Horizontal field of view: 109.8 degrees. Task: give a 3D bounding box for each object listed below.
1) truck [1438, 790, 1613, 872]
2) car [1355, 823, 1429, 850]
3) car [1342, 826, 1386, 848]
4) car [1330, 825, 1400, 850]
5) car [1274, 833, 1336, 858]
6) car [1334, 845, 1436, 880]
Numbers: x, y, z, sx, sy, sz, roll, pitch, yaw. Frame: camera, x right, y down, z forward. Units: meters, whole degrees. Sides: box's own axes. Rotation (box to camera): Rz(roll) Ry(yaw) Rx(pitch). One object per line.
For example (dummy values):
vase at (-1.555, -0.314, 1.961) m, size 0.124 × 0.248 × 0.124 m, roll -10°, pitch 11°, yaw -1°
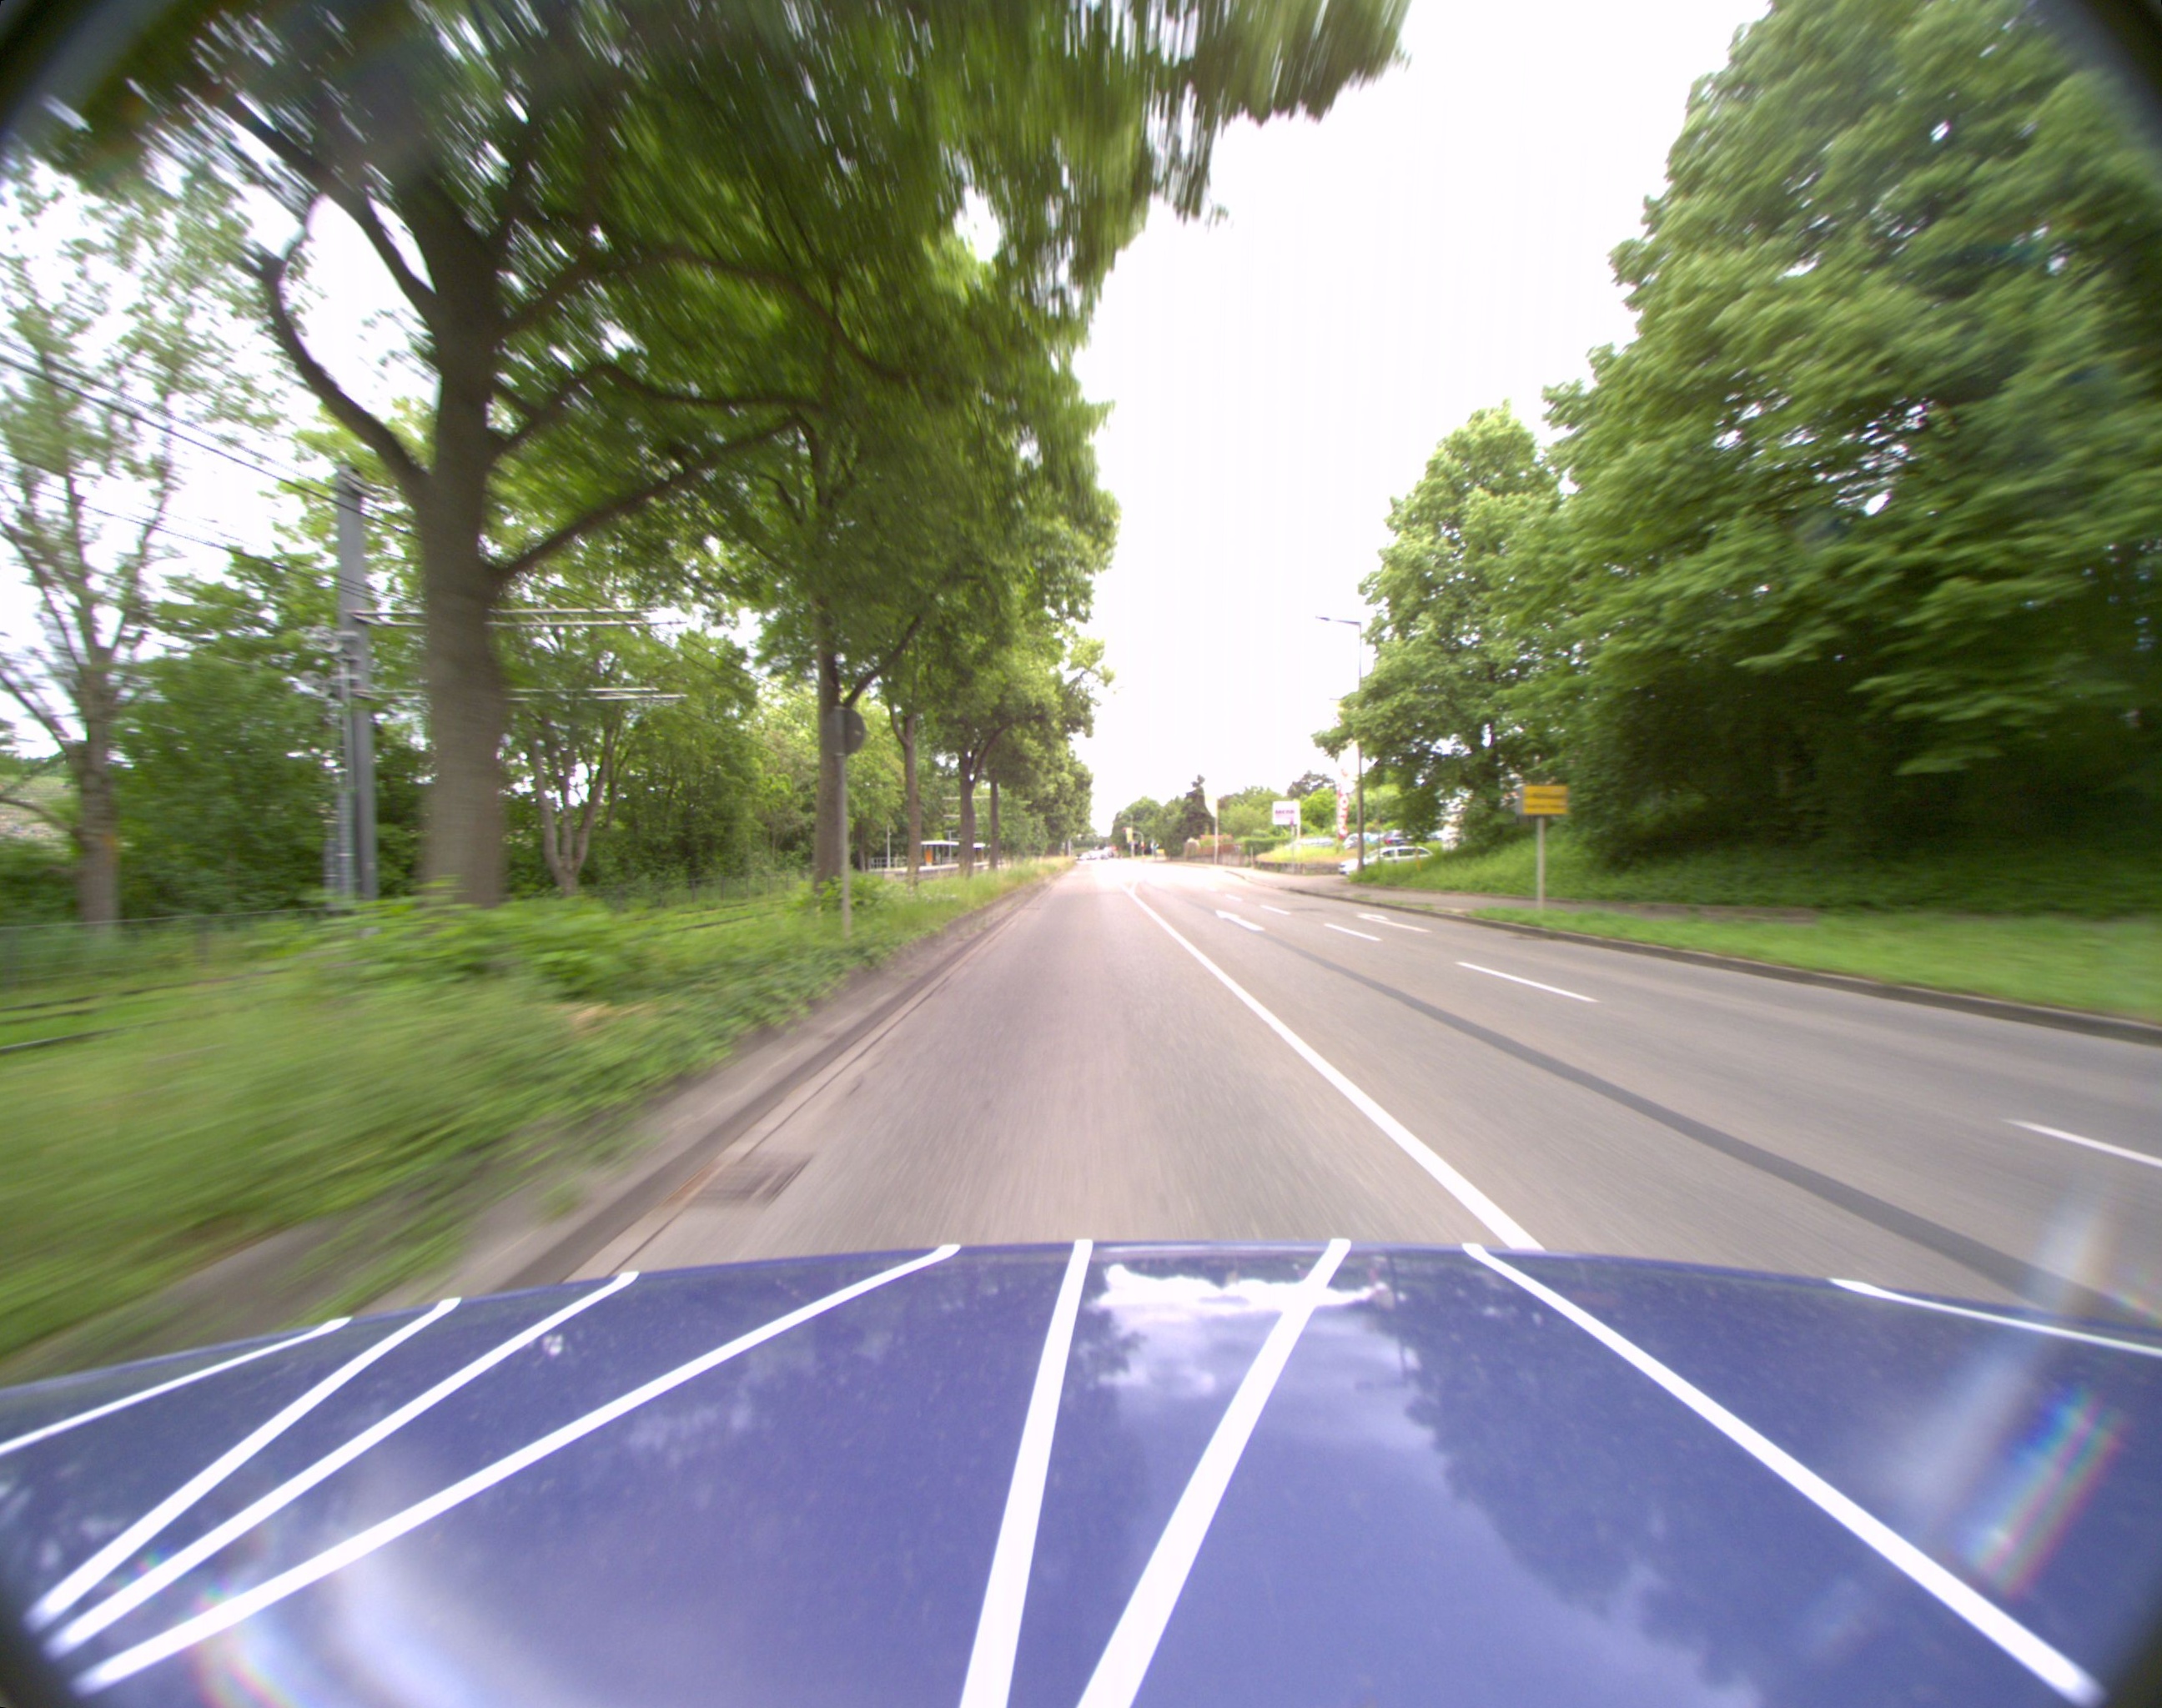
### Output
truck at (21.545, -1.099, 37.078) m, size 6.923 × 3.609 × 2.658 m, roll -2°, pitch 1°, yaw 0°
car at (19.917, -1.104, 48.747) m, size 3.997 × 1.499 × 1.734 m, roll -2°, pitch 1°, yaw 0°
car at (20.532, -1.190, 55.257) m, size 1.733 × 1.499 × 4.000 m, roll -2°, pitch 1°, yaw 1°
car at (19.045, -1.091, 51.026) m, size 3.997 × 1.499 × 1.734 m, roll -2°, pitch 1°, yaw 0°
car at (16.059, -0.579, 54.646) m, size 3.905 × 1.608 × 1.879 m, roll -2°, pitch 1°, yaw 0°
car at (14.743, 0.429, 36.940) m, size 4.220 × 1.483 × 1.749 m, roll -2°, pitch -1°, yaw -3°
